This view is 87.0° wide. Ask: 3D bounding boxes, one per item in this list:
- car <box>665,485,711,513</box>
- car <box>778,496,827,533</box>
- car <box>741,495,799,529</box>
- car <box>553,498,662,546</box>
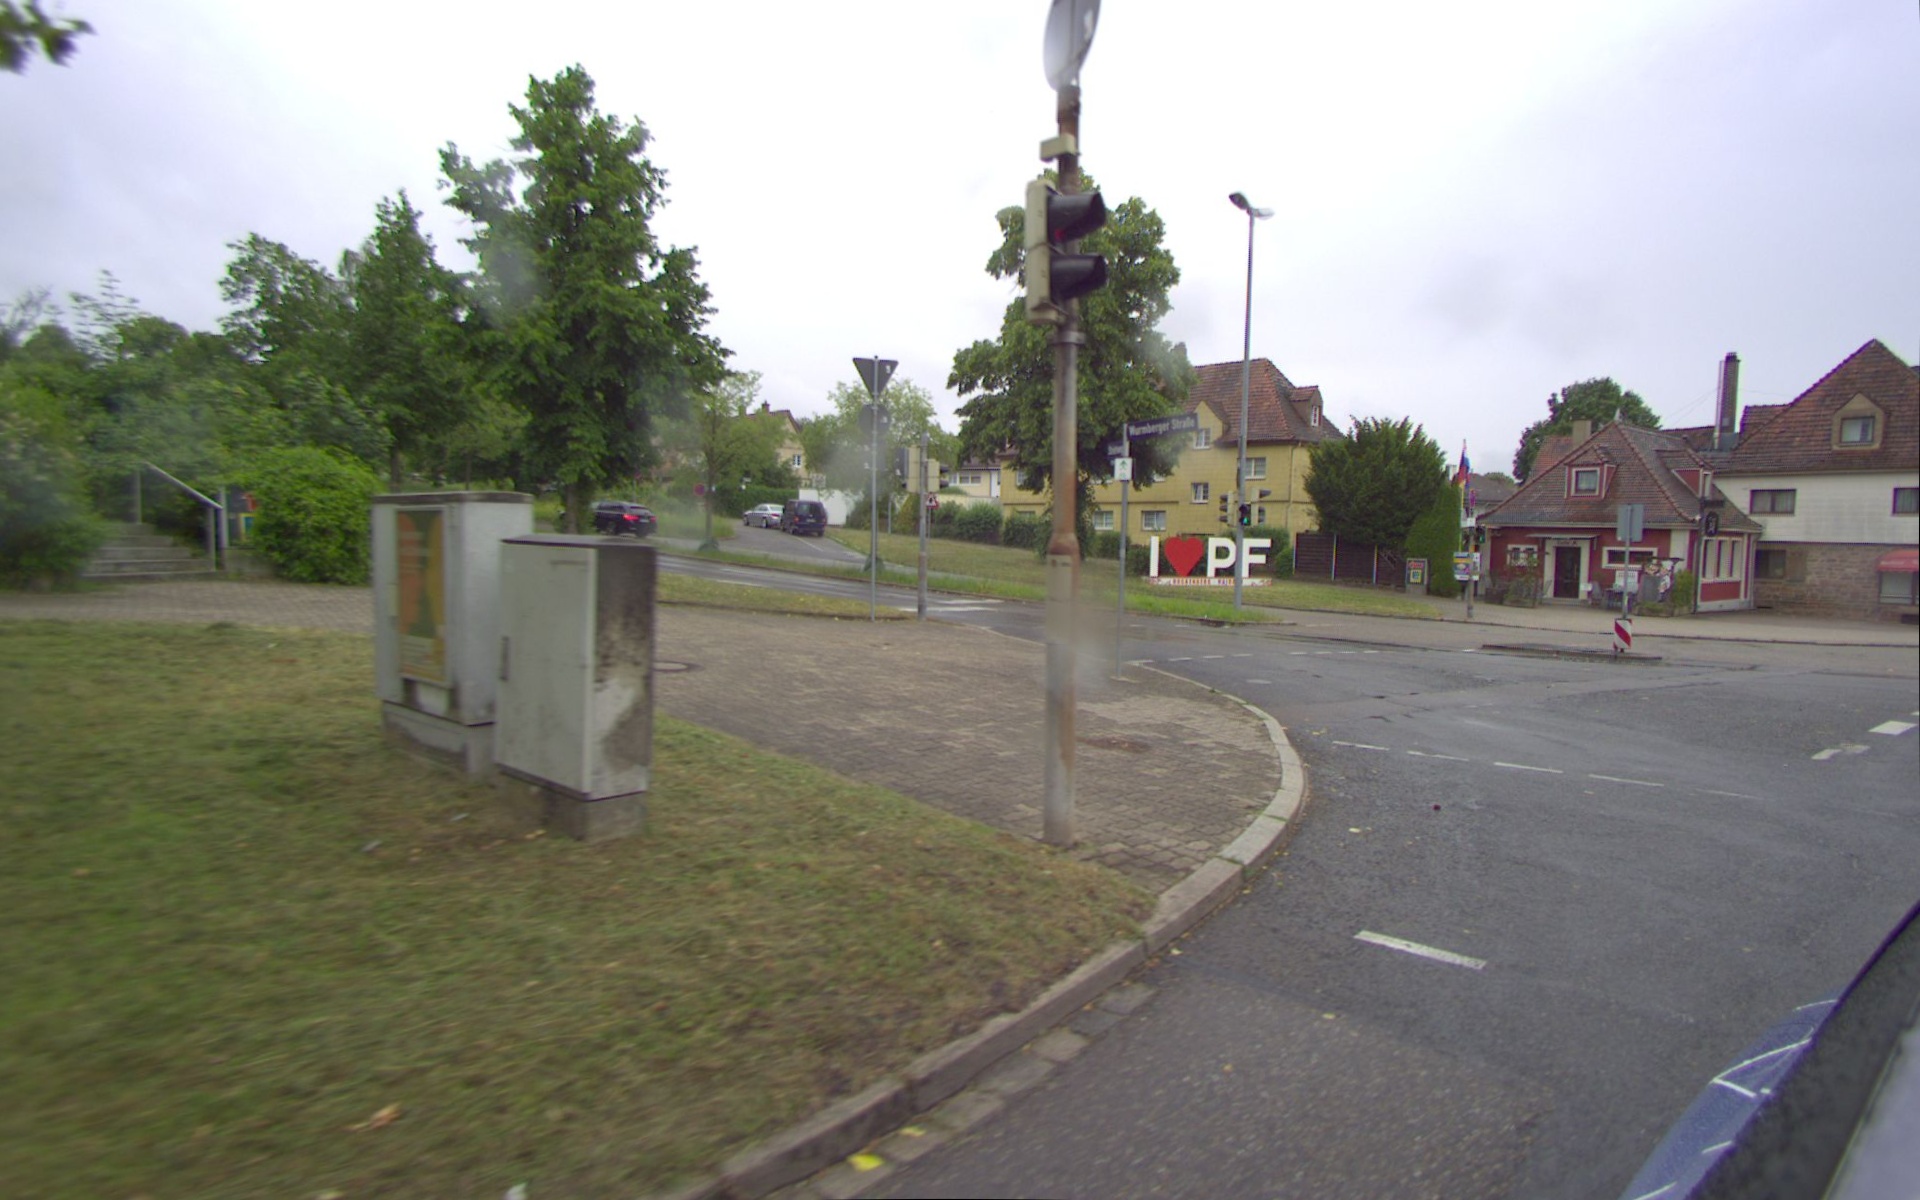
[{"bbox_3d":[-20.672,-7.654,76.792,1.962,1.959,4.277,1,4,-34],"label":"car"},{"bbox_3d":[-9.132,-4.907,58.446,1.958,1.959,4.286,2,3,-20],"label":"car"},{"bbox_3d":[-11.957,-5.531,63.548,1.962,1.959,4.277,1,4,-34],"label":"car"},{"bbox_3d":[-15.504,-3.440,44.452,4.546,1.878,1.981,5,4,29],"label":"car"}]
